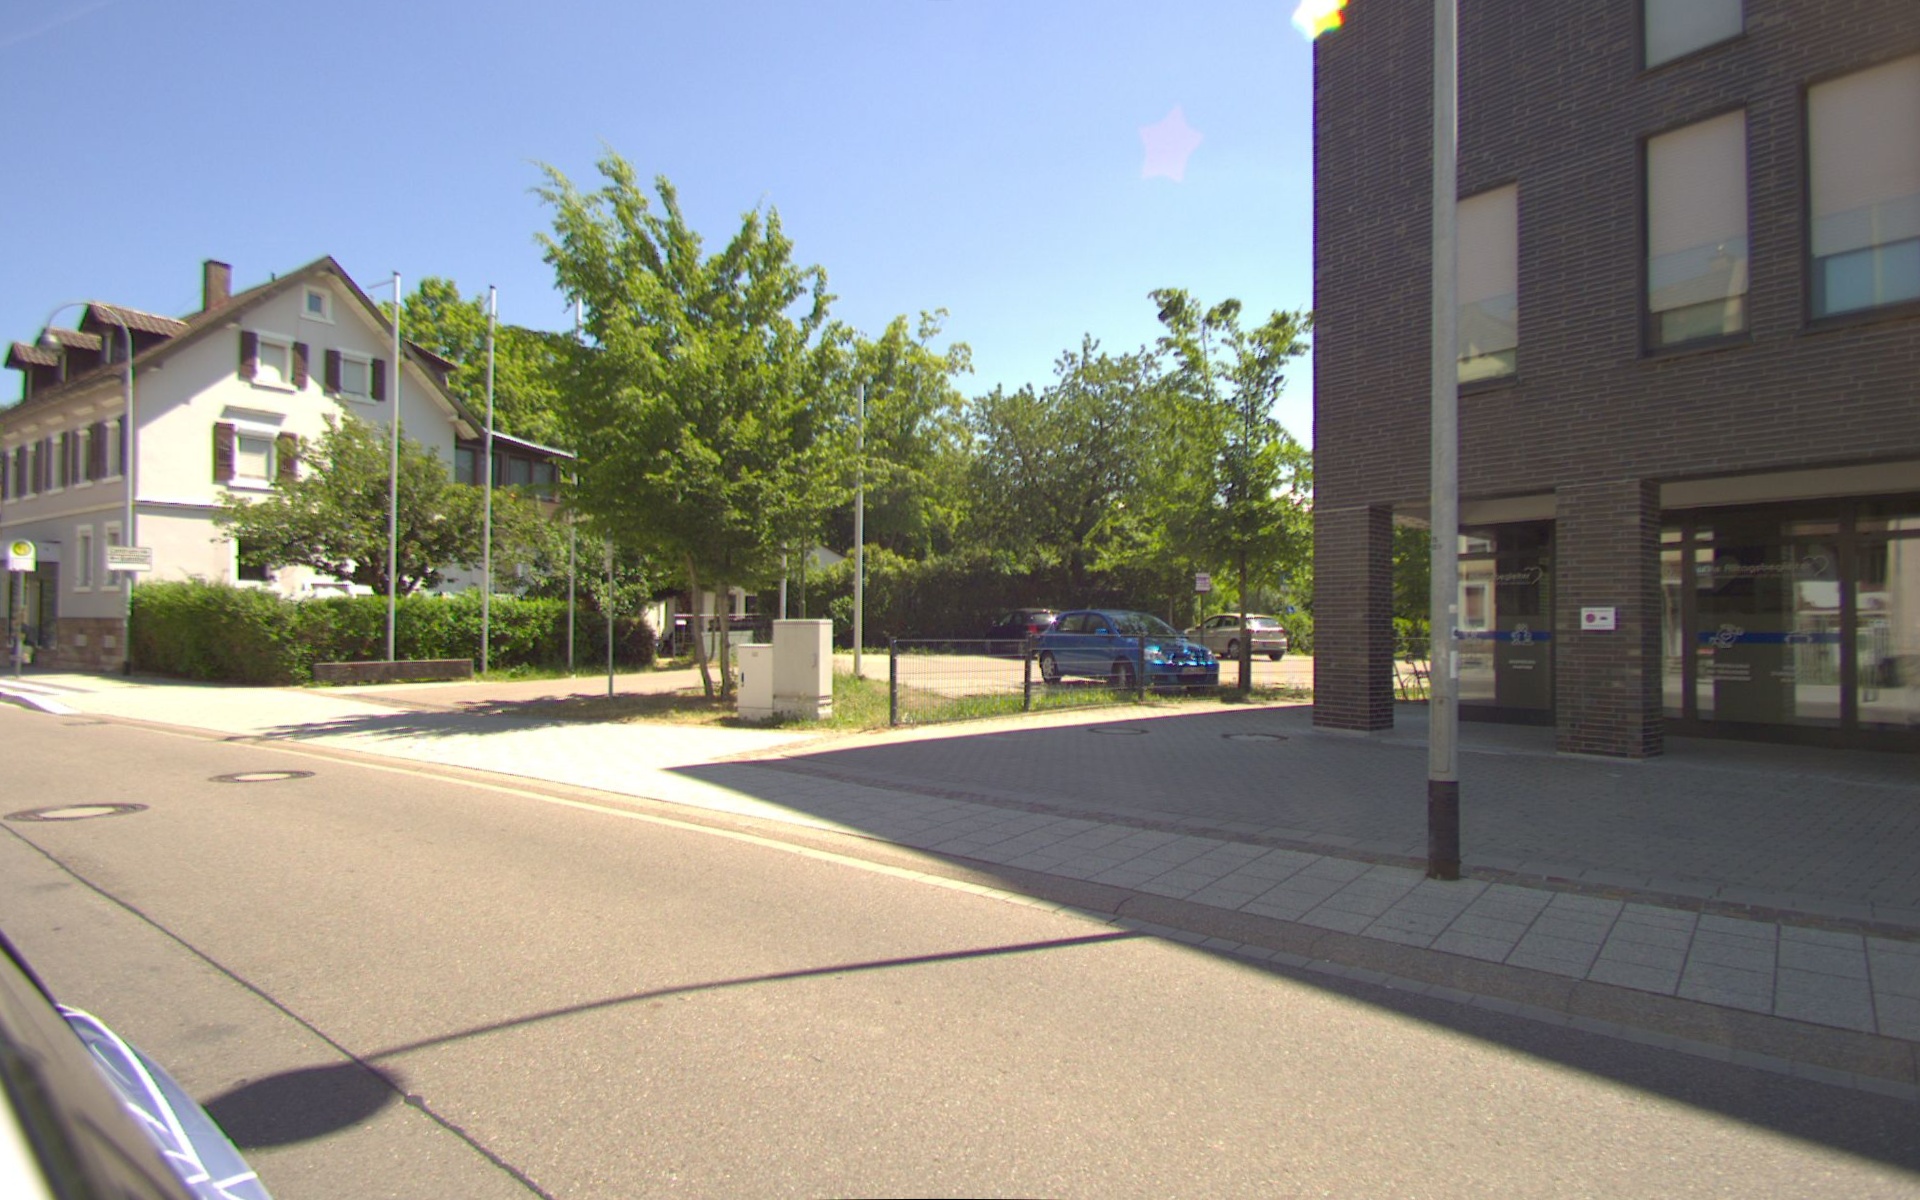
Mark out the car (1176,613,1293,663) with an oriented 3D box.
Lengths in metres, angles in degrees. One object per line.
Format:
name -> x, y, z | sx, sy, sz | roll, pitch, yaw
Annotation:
car -> 8.663, 1.176, 32.247 | 1.662, 1.503, 3.779 | 0, -1, -22

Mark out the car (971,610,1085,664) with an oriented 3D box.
car -> 1.957, 1.077, 30.143 | 1.662, 1.503, 3.779 | 0, -1, -27

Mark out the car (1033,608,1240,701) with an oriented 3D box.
car -> 3.075, 0.928, 18.515 | 1.670, 1.497, 4.093 | 1, -2, -26

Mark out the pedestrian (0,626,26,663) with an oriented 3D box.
pedestrian -> -28.332, 1.316, 30.164 | 0.565, 1.067, 0.592 | -1, -2, 32
